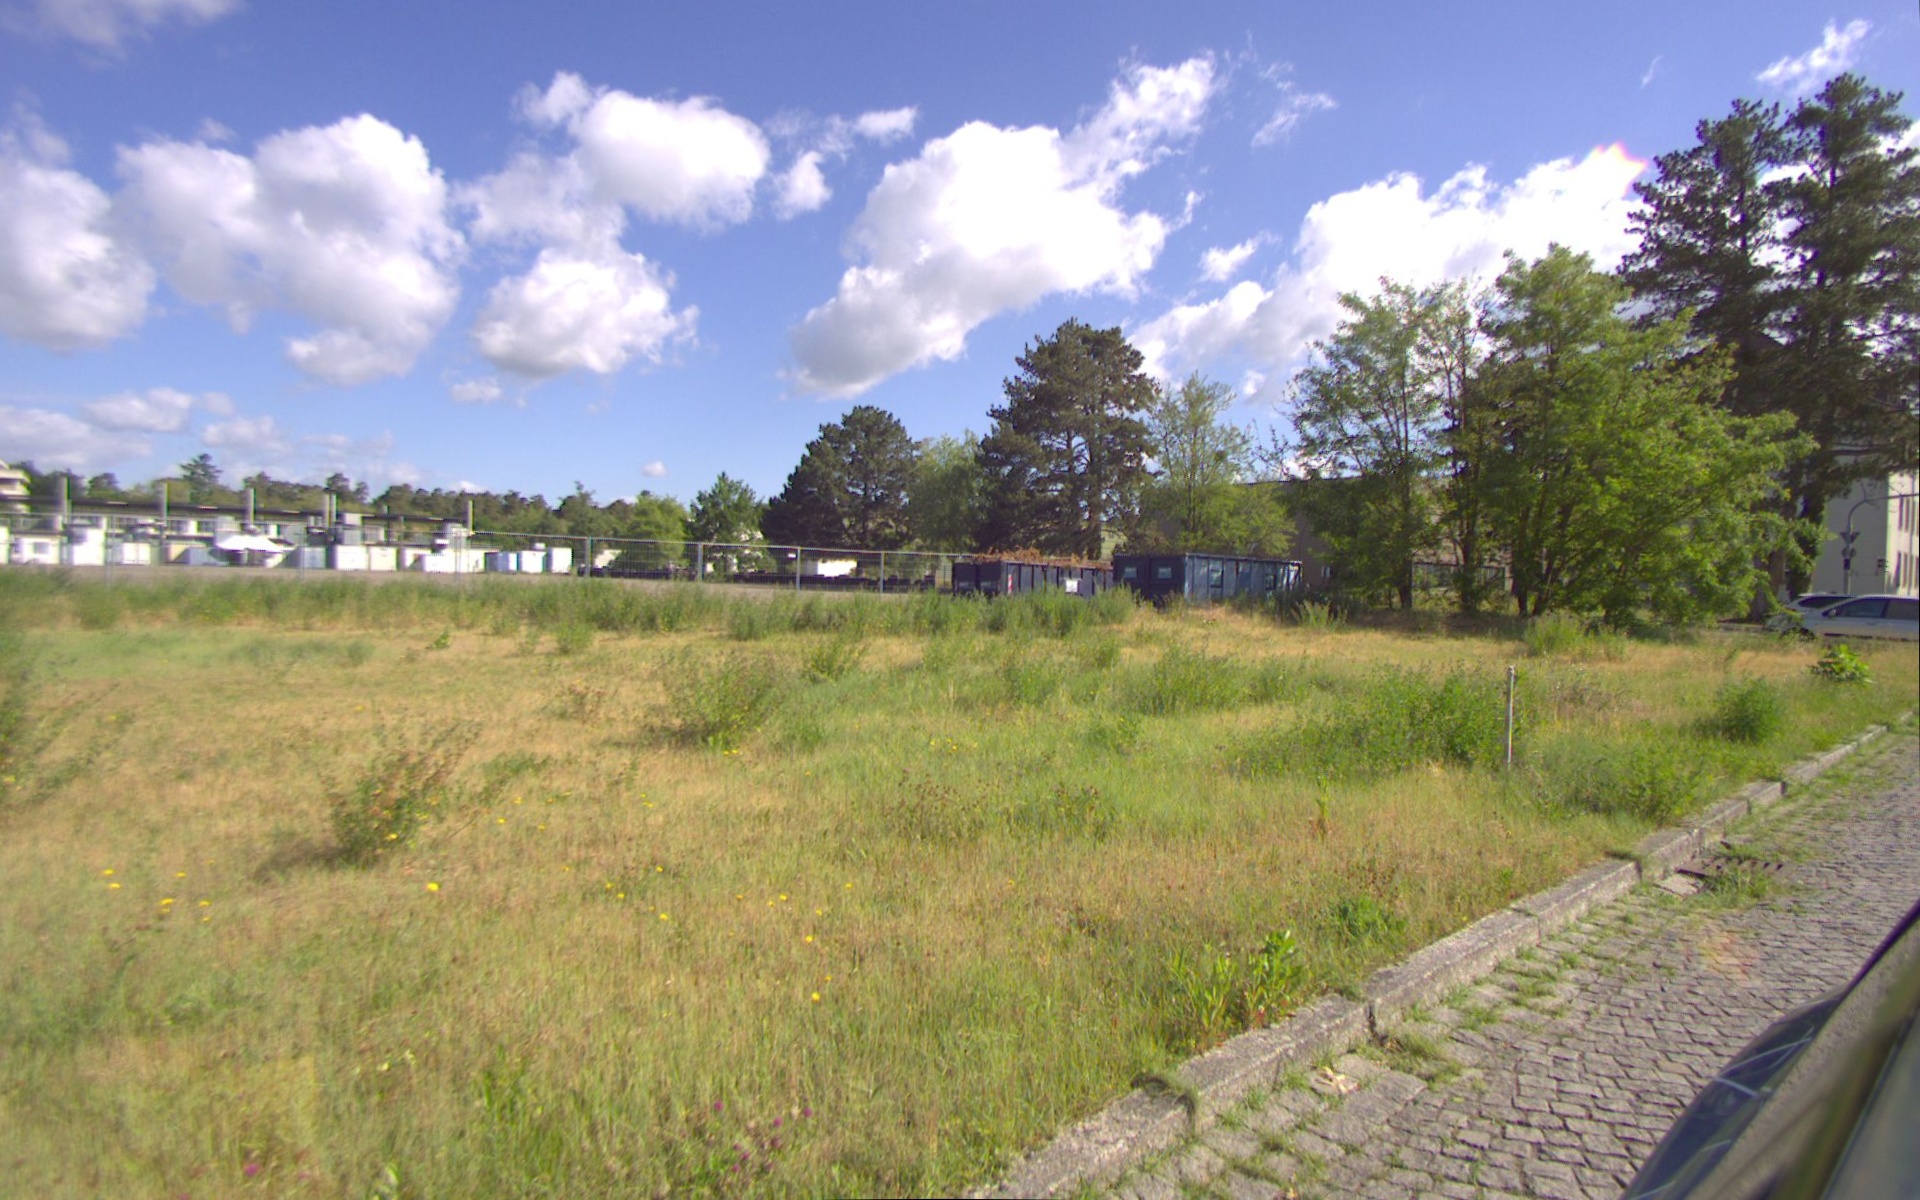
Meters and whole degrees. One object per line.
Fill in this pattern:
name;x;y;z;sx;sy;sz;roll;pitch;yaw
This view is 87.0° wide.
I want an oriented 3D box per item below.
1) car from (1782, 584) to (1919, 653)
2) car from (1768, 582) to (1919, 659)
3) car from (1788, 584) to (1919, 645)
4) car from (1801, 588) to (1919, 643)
car;23.037;0.493;24.936;1.812;1.458;4.013;1;4;-42
car;21.053;0.479;23.104;1.722;1.494;3.749;0;5;-42
car;26.582;0.443;28.708;1.808;1.482;4.521;0;4;-43
car;28.588;0.516;30.617;1.861;1.438;4.547;0;4;-41
